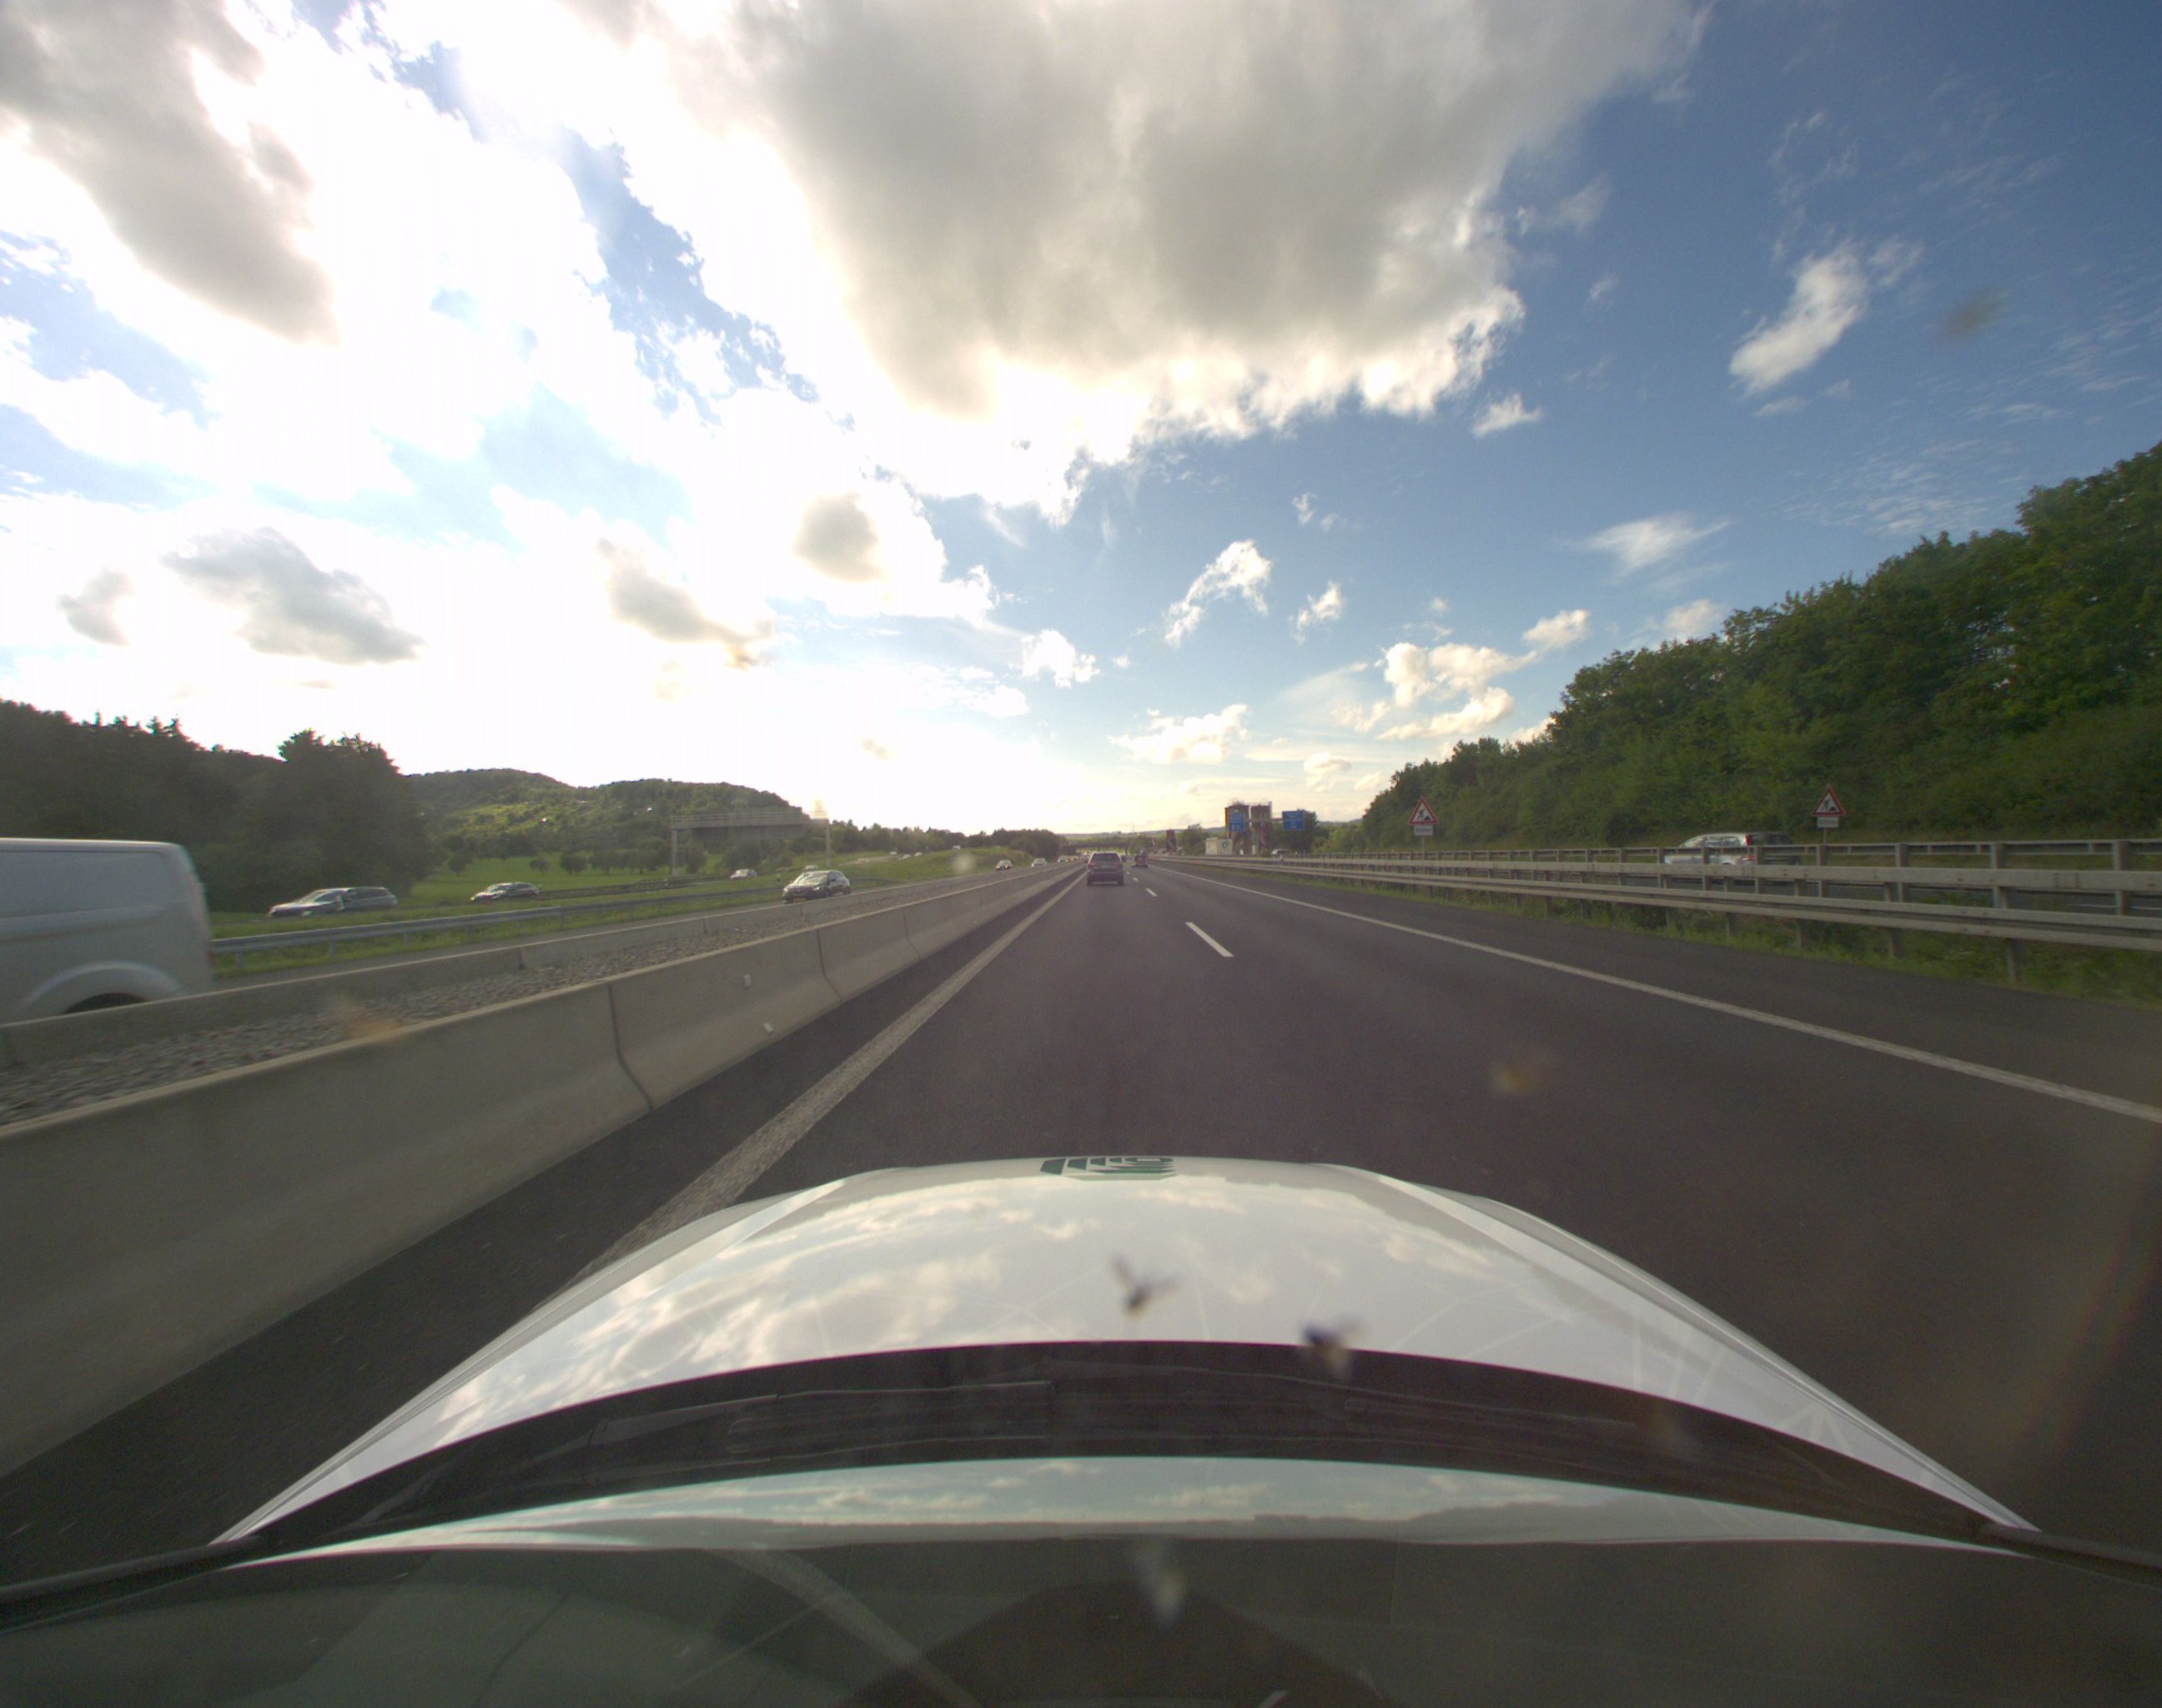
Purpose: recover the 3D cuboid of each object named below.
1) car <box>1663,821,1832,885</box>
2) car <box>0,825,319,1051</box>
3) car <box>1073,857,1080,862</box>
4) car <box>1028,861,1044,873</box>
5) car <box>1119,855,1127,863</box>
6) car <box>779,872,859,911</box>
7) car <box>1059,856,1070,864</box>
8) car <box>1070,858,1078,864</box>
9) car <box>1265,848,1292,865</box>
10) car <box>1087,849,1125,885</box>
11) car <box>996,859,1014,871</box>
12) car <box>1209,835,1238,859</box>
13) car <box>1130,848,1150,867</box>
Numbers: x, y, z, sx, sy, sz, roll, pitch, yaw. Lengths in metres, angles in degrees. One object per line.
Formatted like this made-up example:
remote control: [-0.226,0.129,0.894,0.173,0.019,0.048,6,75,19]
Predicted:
car: [20.532,-0.017,25.338,1.986,1.708,4.002,-3,0,2]
car: [-8.345,0.617,4.870,1.986,1.532,5.749,-3,0,1]
car: [-1.311,1.482,229.218,1.781,1.398,4.625,-3,0,2]
car: [-5.688,1.618,104.104,1.635,1.398,3.743,-3,0,2]
car: [10.303,1.254,200.321,1.967,1.779,4.121,-3,0,2]
car: [-11.343,1.585,35.591,1.747,1.402,4.693,-3,0,2]
car: [-3.049,1.064,153.951,1.781,1.398,4.727,-3,0,2]
car: [-1.638,1.667,189.426,1.781,1.398,4.801,-3,0,2]
car: [21.527,0.246,88.721,1.986,1.717,4.002,-3,0,2]
car: [1.295,0.640,41.495,1.742,1.630,3.612,-3,0,3]
car: [-9.649,1.432,103.658,1.721,1.398,4.159,-3,0,2]
car: [24.063,-1.143,137.873,3.563,3.676,7.552,-3,0,2]
car: [6.777,0.375,93.530,1.986,2.081,4.002,-3,0,2]
